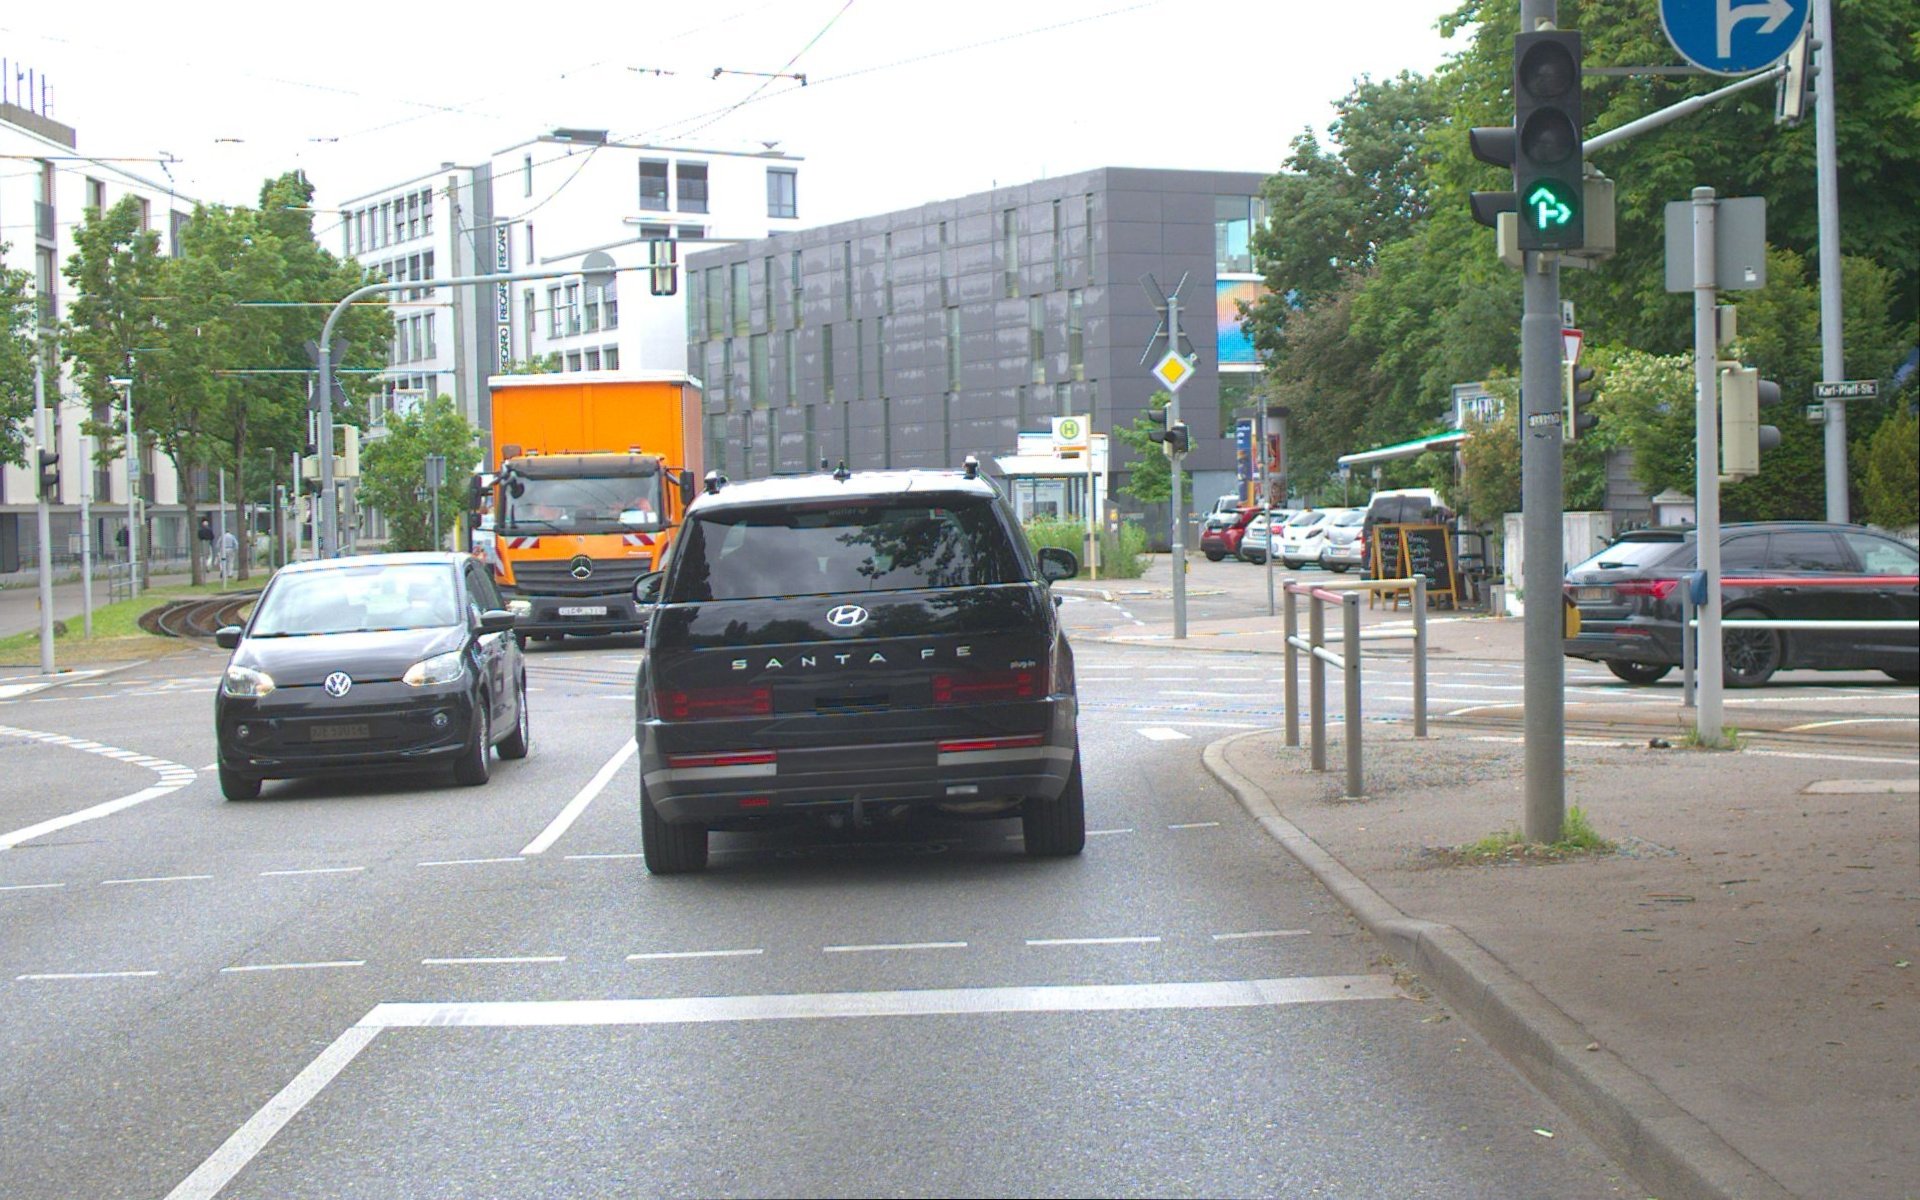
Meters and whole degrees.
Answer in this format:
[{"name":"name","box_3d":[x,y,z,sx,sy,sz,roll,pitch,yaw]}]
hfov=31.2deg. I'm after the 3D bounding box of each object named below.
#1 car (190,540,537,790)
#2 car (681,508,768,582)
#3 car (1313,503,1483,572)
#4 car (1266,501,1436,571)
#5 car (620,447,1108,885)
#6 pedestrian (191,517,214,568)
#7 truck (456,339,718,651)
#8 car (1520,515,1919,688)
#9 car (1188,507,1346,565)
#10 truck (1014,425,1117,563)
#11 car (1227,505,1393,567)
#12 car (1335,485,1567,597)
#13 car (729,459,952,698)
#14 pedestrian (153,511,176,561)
[{"name":"car","box_3d":[-3.782,0.352,22.354,1.663,1.444,3.828,-1,1,-2]},{"name":"car","box_3d":[-5.545,-1.325,81.393,1.788,1.656,4.277,-2,1,-1]},{"name":"car","box_3d":[9.643,-1.400,75.625,3.505,1.373,1.547,-3,4,-31]},{"name":"car","box_3d":[9.158,-1.492,80.525,3.638,1.430,1.592,-3,1,-28]},{"name":"car","box_3d":[-0.497,0.209,15.716,1.915,1.719,4.171,1,2,-3]},{"name":"pedestrian","box_3d":[-25.475,-1.934,115.598,0.613,1.688,0.785,0,0,-1]},{"name":"truck","box_3d":[-4.923,-1.391,46.899,2.769,3.706,8.470,-3,1,-2]},{"name":"car","box_3d":[7.486,-0.019,30.623,4.503,1.458,2.001,0,1,-17]},{"name":"car","box_3d":[8.210,-1.696,91.947,3.790,1.468,1.799,1,0,-26]},{"name":"truck","box_3d":[2.784,-2.835,92.664,2.573,3.513,7.811,-1,2,1]},{"name":"car","box_3d":[8.816,-1.608,86.551,3.791,1.468,1.798,1,0,-31]},{"name":"car","box_3d":[8.349,-1.020,58.136,1.849,1.742,4.686,0,2,37]},{"name":"car","box_3d":[-1.173,-0.256,31.808,1.855,2.026,4.438,-1,2,-4]},{"name":"pedestrian","box_3d":[-26.881,-2.167,116.196,0.613,1.688,0.785,0,0,-1]}]
